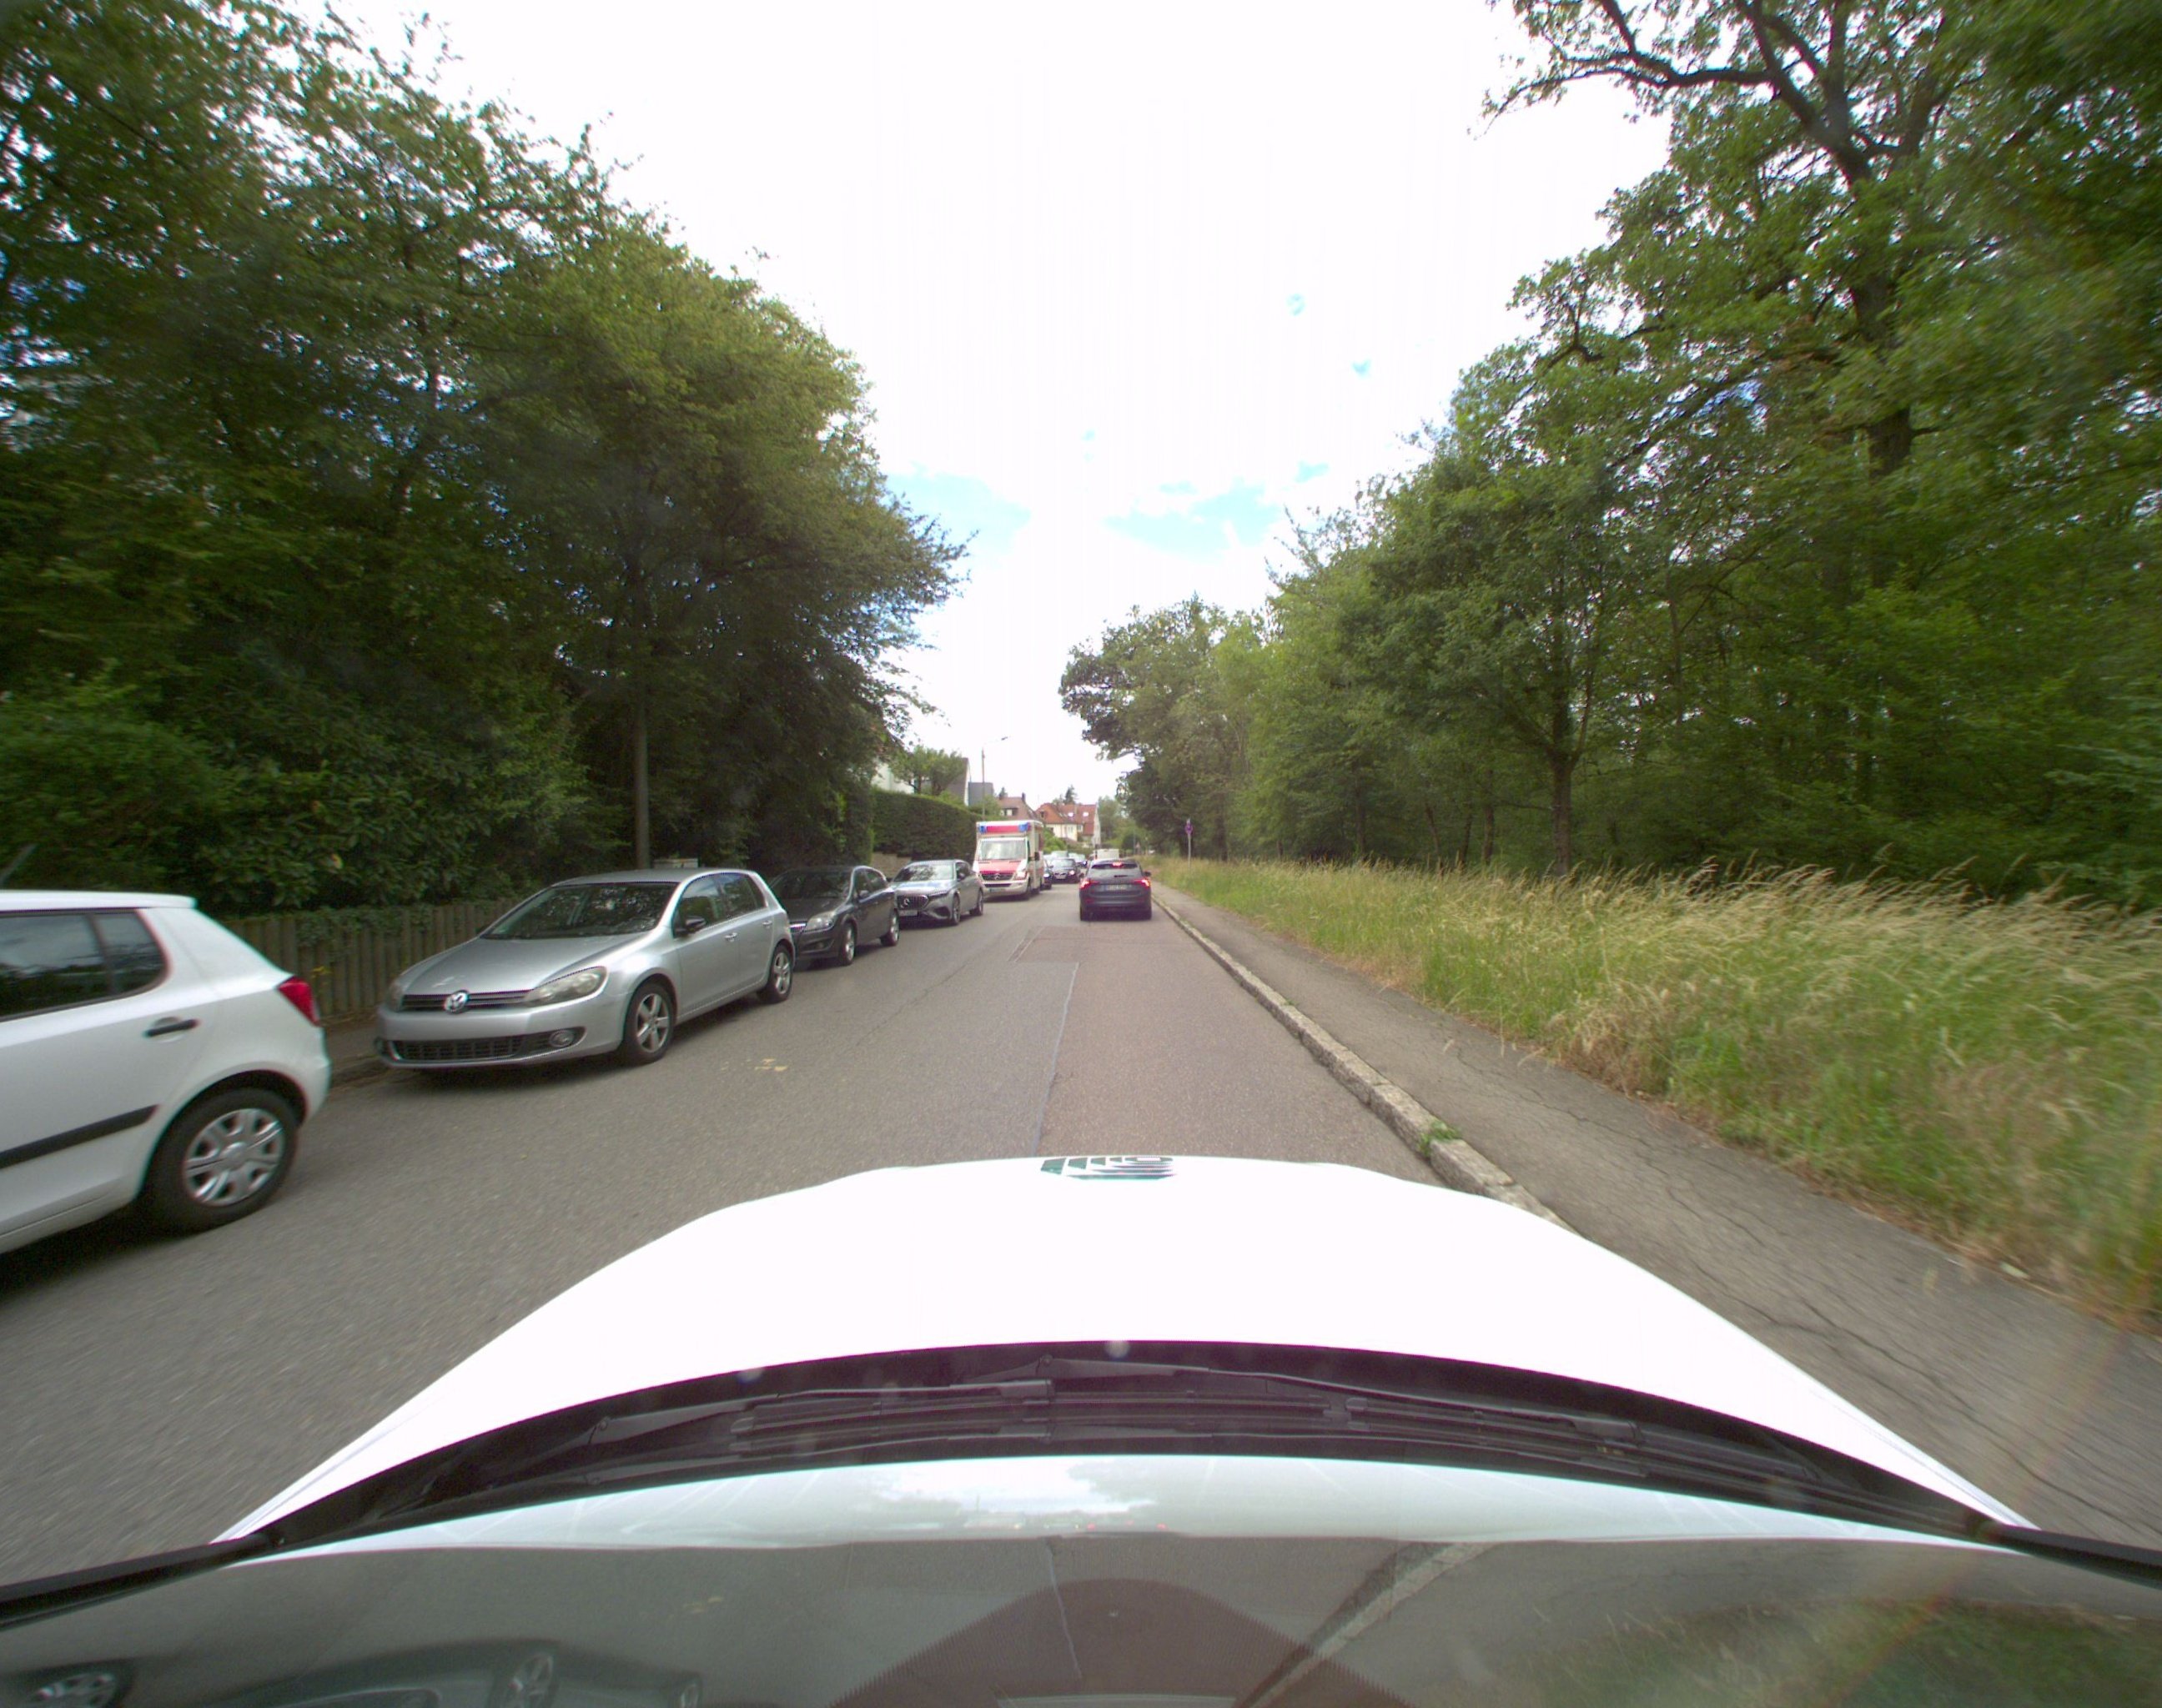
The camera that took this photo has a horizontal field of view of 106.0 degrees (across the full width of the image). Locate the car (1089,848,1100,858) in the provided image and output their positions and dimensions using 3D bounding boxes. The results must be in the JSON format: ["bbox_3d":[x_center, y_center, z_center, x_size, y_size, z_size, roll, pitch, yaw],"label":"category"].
[{"bbox_3d":[2.202,-0.222,133.429,1.827,1.597,4.325,0,1,1],"label":"car"}]

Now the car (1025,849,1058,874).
[{"bbox_3d":[-2.778,0.535,57.932,1.830,1.648,4.189,-2,0,3],"label":"car"}]

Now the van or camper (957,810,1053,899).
[{"bbox_3d":[-2.642,0.014,30.573,2.445,2.895,7.174,-1,0,3],"label":"van or camper"}]

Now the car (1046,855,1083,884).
[{"bbox_3d":[-0.870,0.816,45.358,1.756,1.446,4.477,-1,0,3],"label":"car"}]

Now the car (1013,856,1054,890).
[{"bbox_3d":[-2.167,0.849,38.296,1.758,1.446,4.471,-1,0,-2],"label":"car"}]

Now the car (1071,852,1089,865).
[{"bbox_3d":[-0.093,0.449,87.053,1.856,1.414,4.593,0,0,1],"label":"car"}]

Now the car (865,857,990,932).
[{"bbox_3d":[-3.581,0.874,19.922,1.790,1.505,4.867,-3,0,3],"label":"car"}]

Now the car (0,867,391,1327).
[{"bbox_3d":[-4.486,0.866,2.322,1.715,1.505,3.816,-3,0,0],"label":"car"}]

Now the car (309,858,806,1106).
[{"bbox_3d":[-4.053,0.833,7.253,1.714,1.505,4.008,-3,0,1],"label":"car"}]

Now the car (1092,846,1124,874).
[{"bbox_3d":[1.883,0.408,58.288,2.066,1.922,4.919,0,0,-2],"label":"car"}]

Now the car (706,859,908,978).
[{"bbox_3d":[-4.117,0.879,12.987,1.714,1.505,4.061,-3,0,1],"label":"car"}]

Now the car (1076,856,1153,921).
[{"bbox_3d":[0.765,0.802,20.855,1.723,1.439,4.321,0,0,-1],"label":"car"}]
